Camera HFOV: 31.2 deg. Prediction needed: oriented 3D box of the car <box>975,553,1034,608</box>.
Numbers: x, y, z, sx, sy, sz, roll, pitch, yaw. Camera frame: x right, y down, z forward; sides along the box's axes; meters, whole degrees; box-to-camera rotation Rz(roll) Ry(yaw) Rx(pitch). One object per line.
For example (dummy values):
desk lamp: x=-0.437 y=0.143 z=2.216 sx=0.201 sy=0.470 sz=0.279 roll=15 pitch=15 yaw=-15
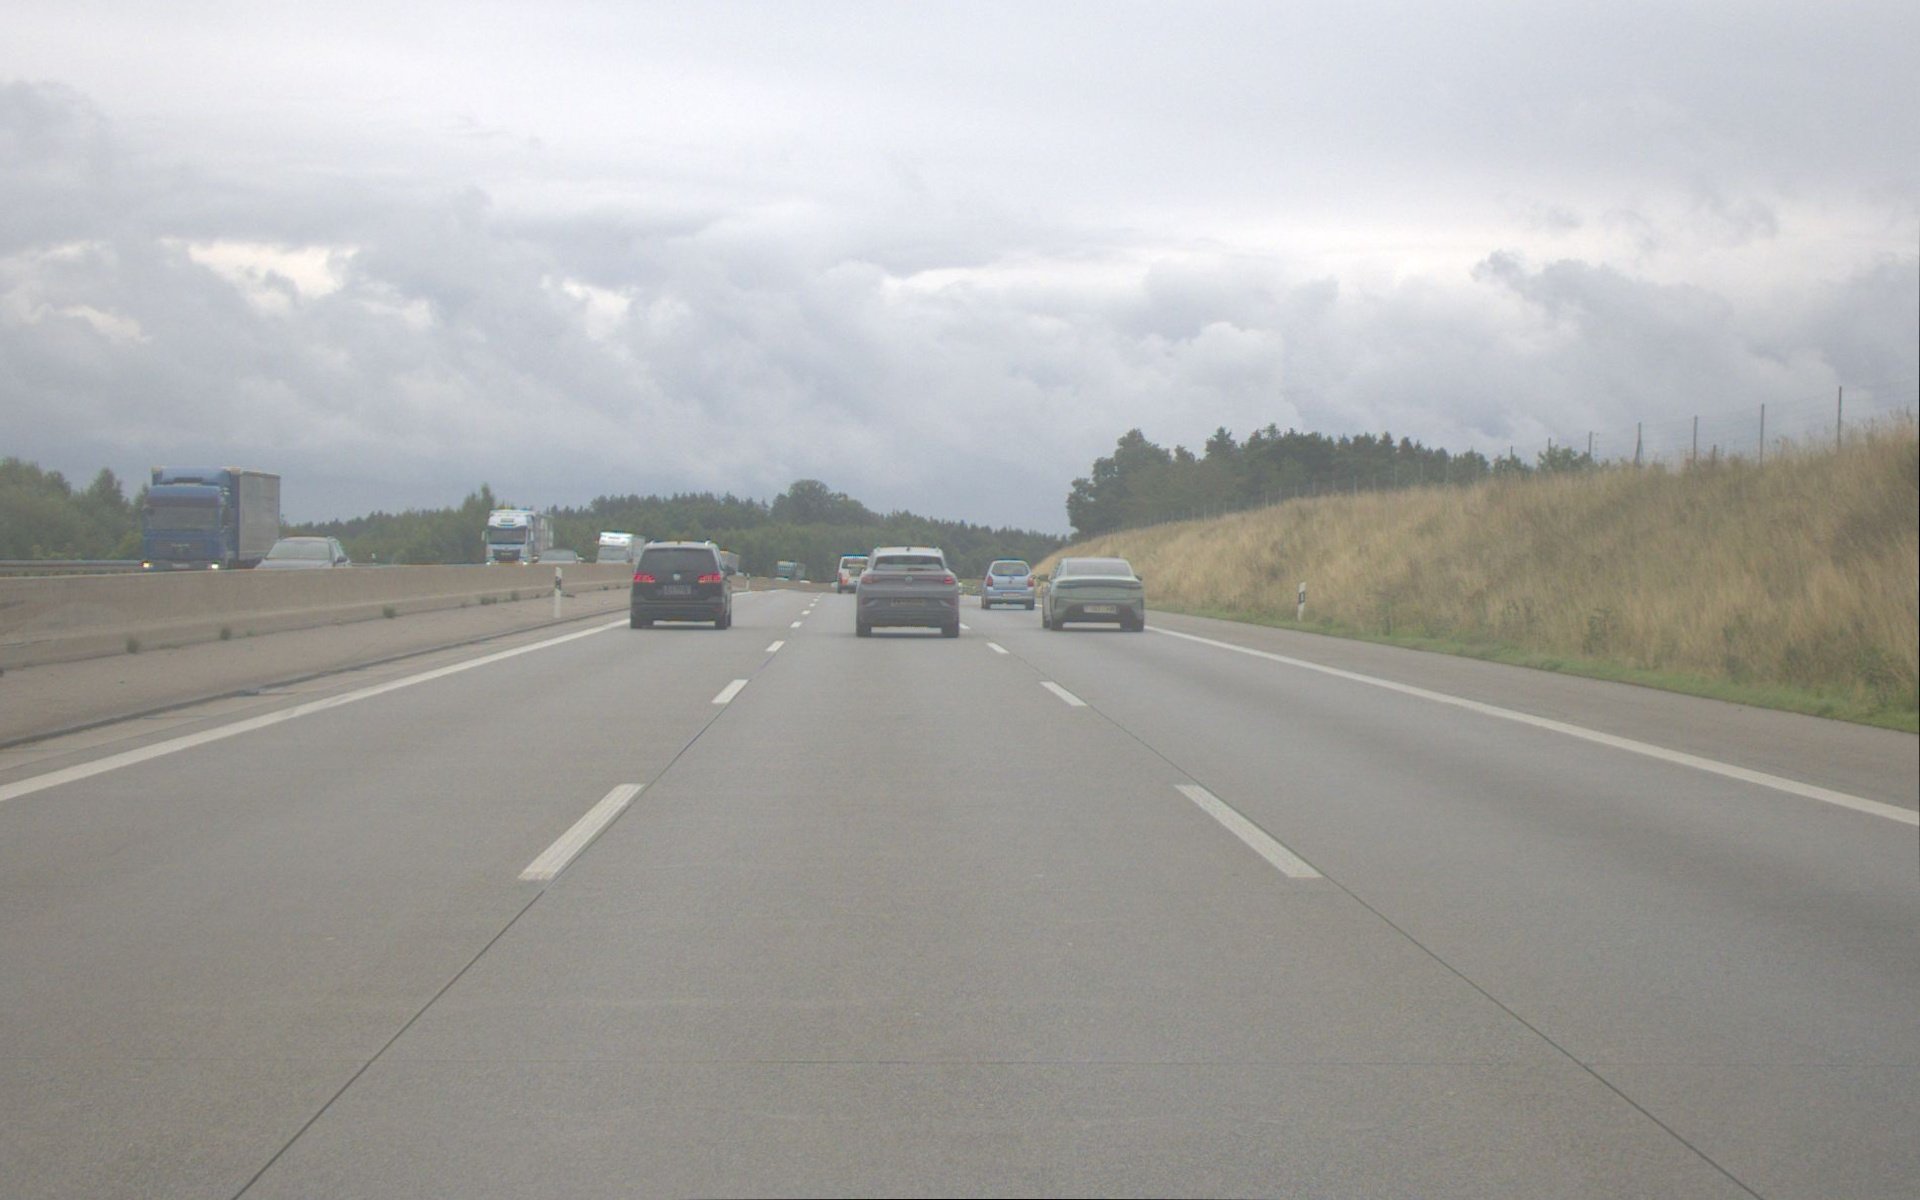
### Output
car: x=1.294 y=-0.596 z=101.233 sx=1.485 sy=1.465 sz=3.505 roll=3 pitch=1 yaw=-2

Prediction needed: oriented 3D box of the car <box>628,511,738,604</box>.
car: x=-5.368 y=-0.844 z=66.992 sx=1.785 sy=1.741 sz=3.915 roll=1 pitch=1 yaw=0

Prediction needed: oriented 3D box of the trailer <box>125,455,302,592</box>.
trailer: x=-22.335 y=-2.305 z=103.611 sx=2.849 sy=3.824 sz=12.400 roll=1 pitch=1 yaw=-1

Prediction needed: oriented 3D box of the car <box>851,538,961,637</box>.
car: x=-0.953 y=-0.266 z=62.569 sx=1.898 sy=1.684 sz=5.266 roll=1 pitch=1 yaw=0

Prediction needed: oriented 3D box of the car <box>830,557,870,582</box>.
car: x=-5.736 y=-1.581 z=179.044 sx=1.798 sy=1.217 sz=4.000 roll=1 pitch=1 yaw=2

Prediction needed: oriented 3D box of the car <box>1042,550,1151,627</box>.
car: x=2.715 y=-0.260 z=69.309 sx=2.014 sy=1.441 sz=4.745 roll=1 pitch=1 yaw=0

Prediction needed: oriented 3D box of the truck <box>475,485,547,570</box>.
truck: x=-26.035 y=-4.223 z=199.545 sx=3.587 sy=4.802 sz=5.869 roll=1 pitch=1 yaw=-2
